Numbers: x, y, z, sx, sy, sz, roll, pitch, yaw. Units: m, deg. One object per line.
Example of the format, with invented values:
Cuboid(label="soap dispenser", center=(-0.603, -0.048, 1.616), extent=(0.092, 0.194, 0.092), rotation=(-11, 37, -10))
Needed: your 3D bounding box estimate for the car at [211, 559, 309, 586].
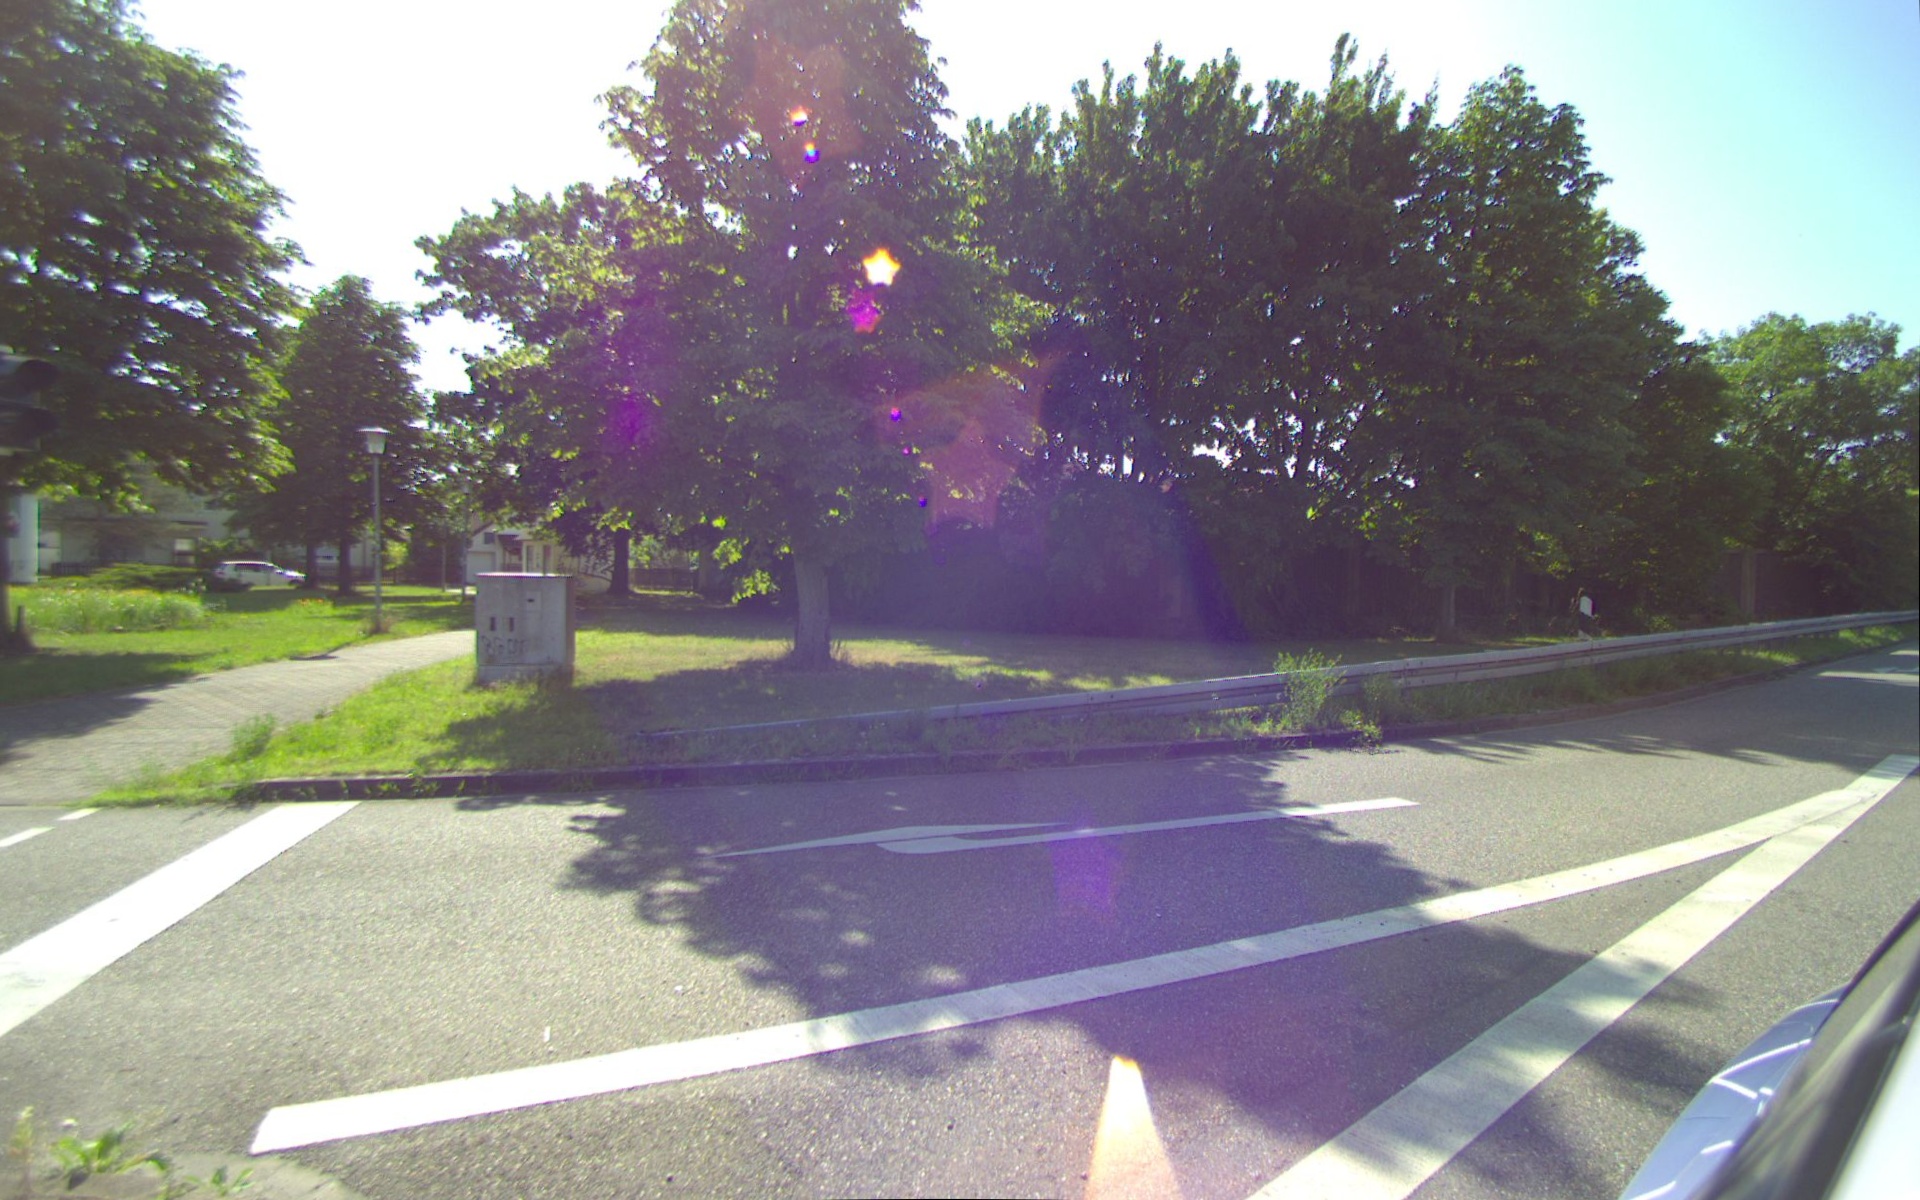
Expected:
Cuboid(label="car", center=(-34.630, -1.356, 50.101), extent=(3.928, 1.304, 1.732), rotation=(-1, 2, -39))
